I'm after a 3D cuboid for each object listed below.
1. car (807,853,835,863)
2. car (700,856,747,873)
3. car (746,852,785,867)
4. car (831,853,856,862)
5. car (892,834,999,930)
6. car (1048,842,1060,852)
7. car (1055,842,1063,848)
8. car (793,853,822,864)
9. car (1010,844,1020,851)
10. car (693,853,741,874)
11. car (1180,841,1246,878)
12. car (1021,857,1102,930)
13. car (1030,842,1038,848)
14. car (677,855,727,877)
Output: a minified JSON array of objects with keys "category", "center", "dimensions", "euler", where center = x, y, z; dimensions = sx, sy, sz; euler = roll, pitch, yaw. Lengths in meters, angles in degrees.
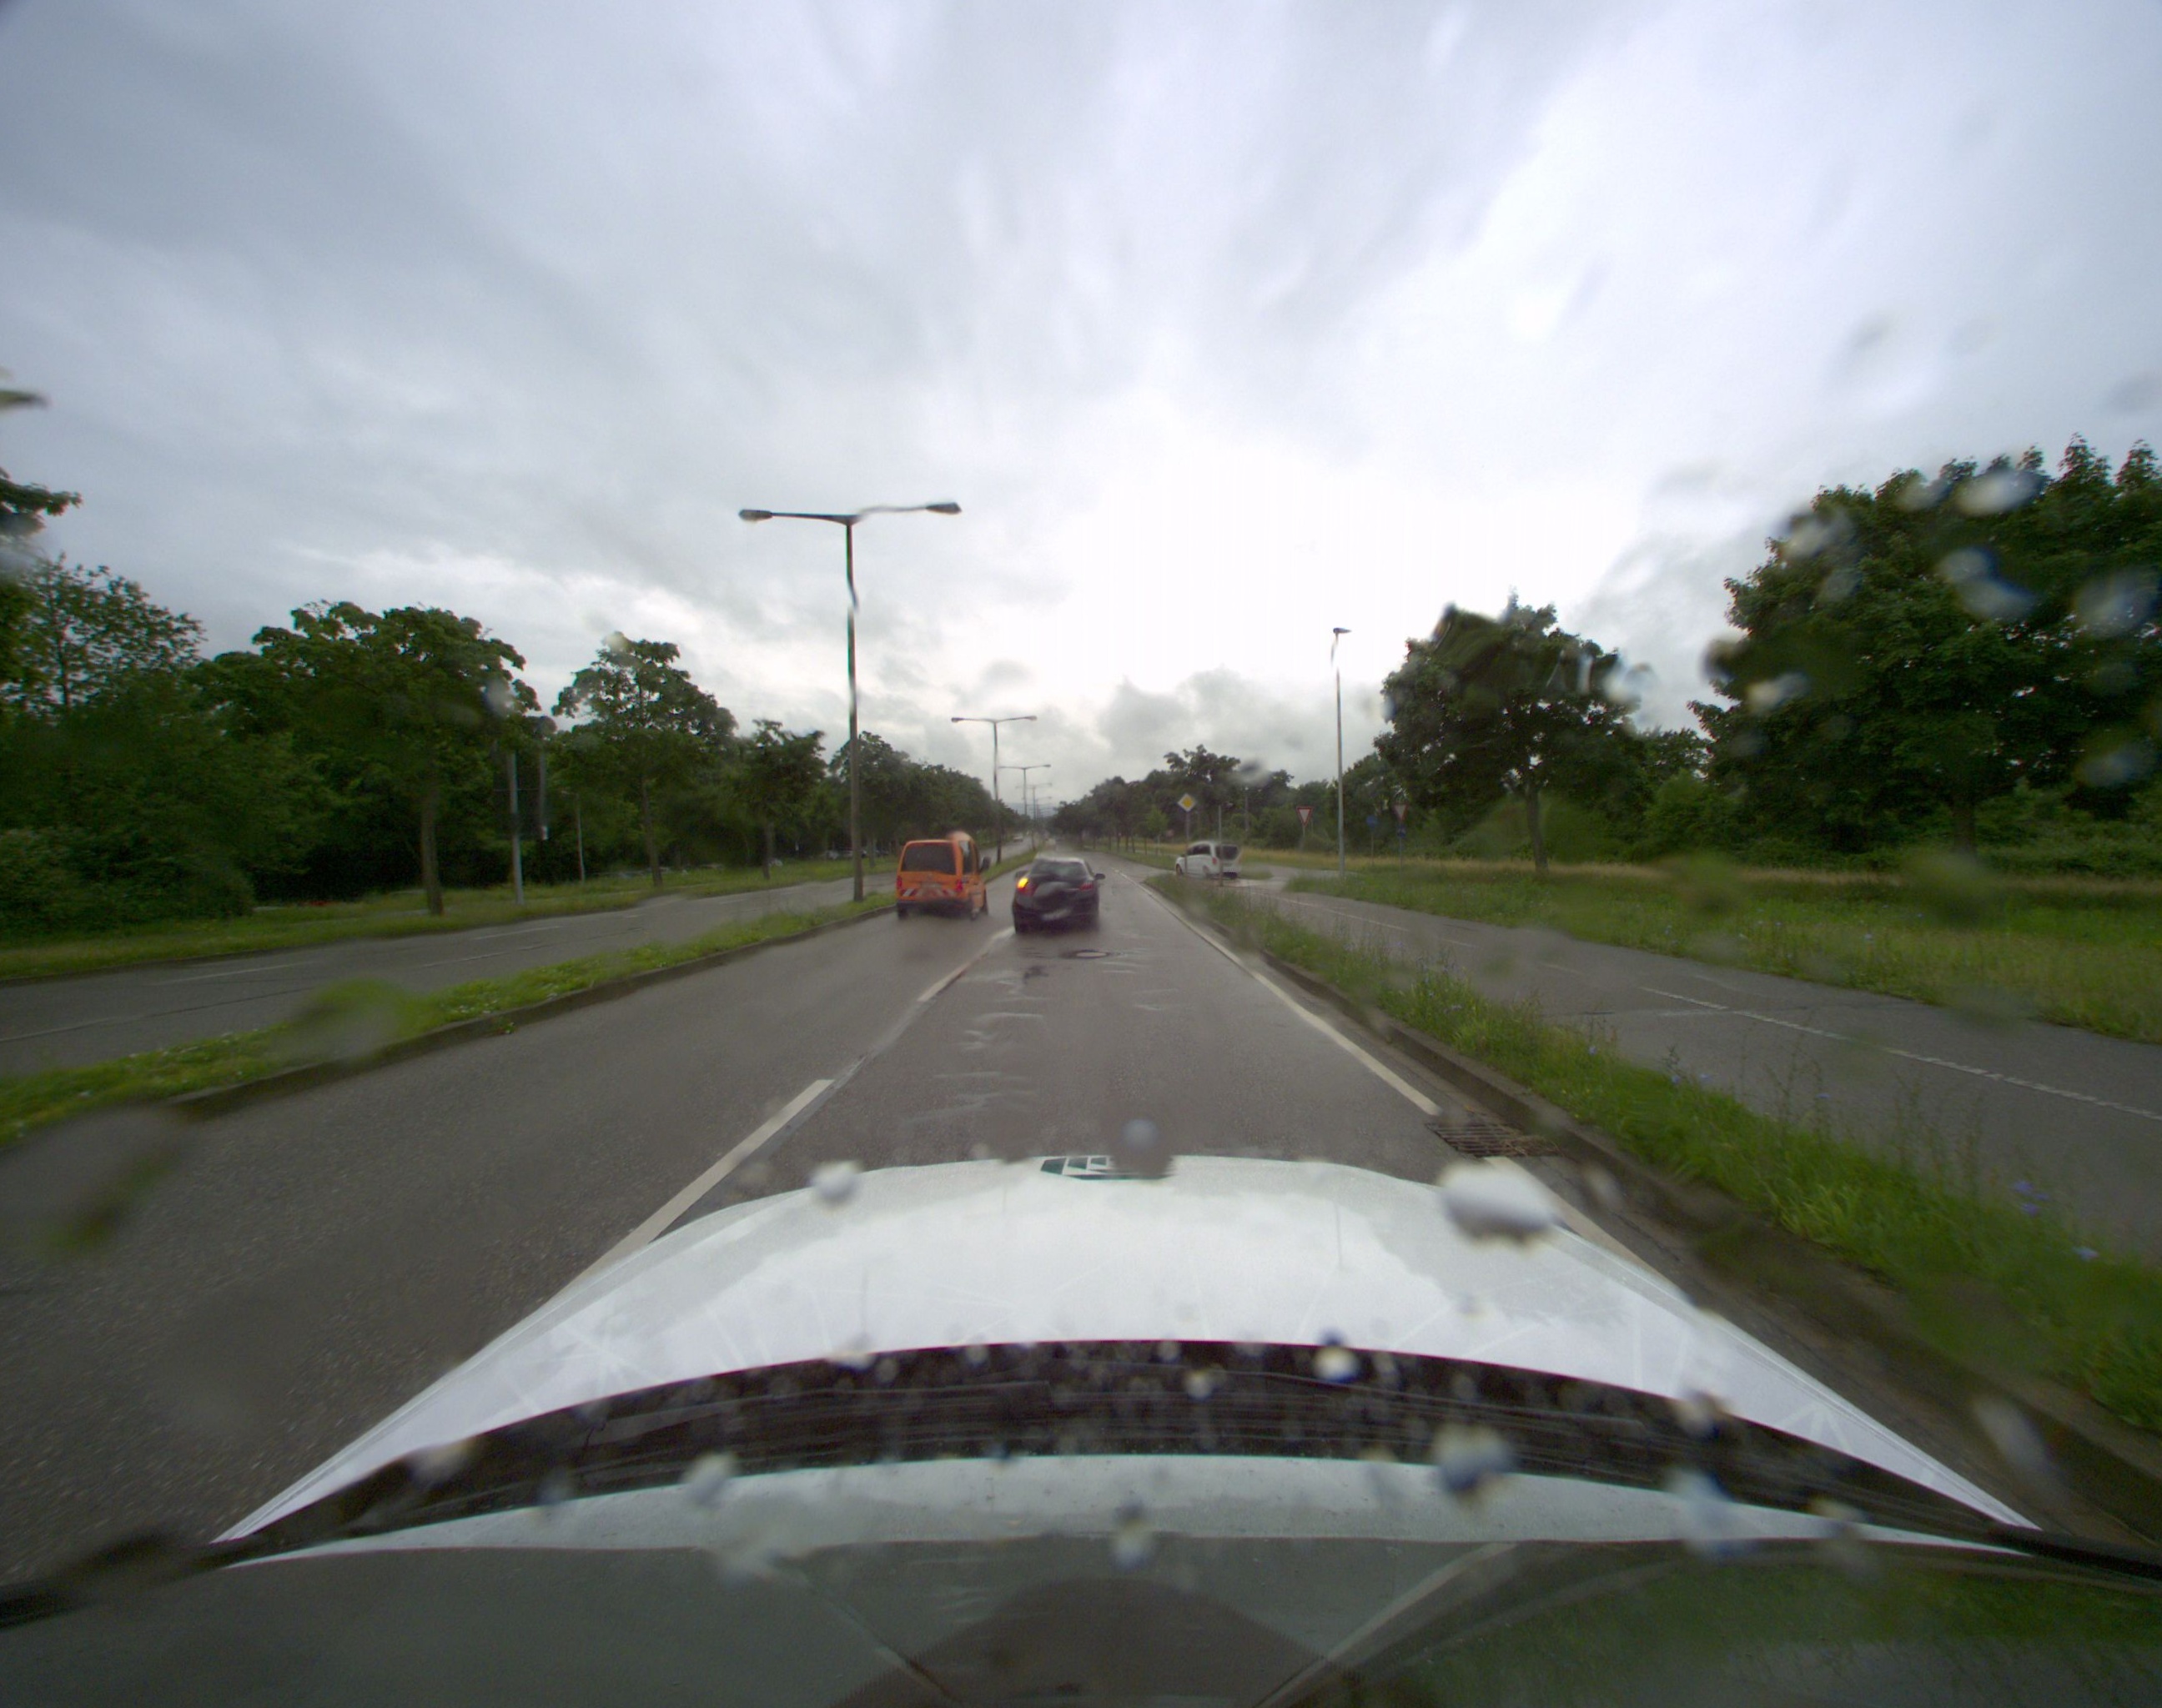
[{"category":"car","center":[-40.108,0.578,125.839],"dimensions":[3.830,1.452,1.522],"euler":[-2,1,-6]},{"category":"car","center":[-37.662,1.124,85.847],"dimensions":[3.982,1.618,1.996],"euler":[-1,1,-6]},{"category":"car","center":[-37.972,0.703,98.138],"dimensions":[3.982,1.640,1.908],"euler":[-2,1,-6]},{"category":"car","center":[-40.404,0.610,138.726],"dimensions":[3.830,1.452,1.522],"euler":[-2,1,-6]},{"category":"car","center":[-3.108,0.566,19.676],"dimensions":[1.729,2.018,4.849],"euler":[1,0,0]},{"category":"car","center":[-5.009,-1.290,152.576],"dimensions":[1.986,1.879,4.002],"euler":[0,0,2]},{"category":"car","center":[-7.050,-2.864,259.949],"dimensions":[2.509,2.052,5.290],"euler":[-2,0,-2]},{"category":"car","center":[-39.652,0.631,118.215],"dimensions":[3.729,1.426,1.485],"euler":[-2,1,-6]},{"category":"car","center":[-14.349,-1.491,176.982],"dimensions":[1.677,1.554,4.001],"euler":[0,0,1]},{"category":"car","center":[-37.352,0.931,83.558],"dimensions":[3.982,2.013,1.996],"euler":[-2,1,-6]},{"category":"car","center":[7.303,0.282,45.537],"dimensions":[2.062,1.974,4.587],"euler":[0,0,-14]},{"category":"car","center":[-0.304,0.756,16.833],"dimensions":[1.457,1.329,3.759],"euler":[-1,-1,2]},{"category":"car","center":[-12.600,-2.491,218.172],"dimensions":[1.822,1.450,3.808],"euler":[-1,1,-1]},{"category":"car","center":[-37.658,1.136,80.895],"dimensions":[3.982,2.013,1.996],"euler":[-2,1,-6]}]
